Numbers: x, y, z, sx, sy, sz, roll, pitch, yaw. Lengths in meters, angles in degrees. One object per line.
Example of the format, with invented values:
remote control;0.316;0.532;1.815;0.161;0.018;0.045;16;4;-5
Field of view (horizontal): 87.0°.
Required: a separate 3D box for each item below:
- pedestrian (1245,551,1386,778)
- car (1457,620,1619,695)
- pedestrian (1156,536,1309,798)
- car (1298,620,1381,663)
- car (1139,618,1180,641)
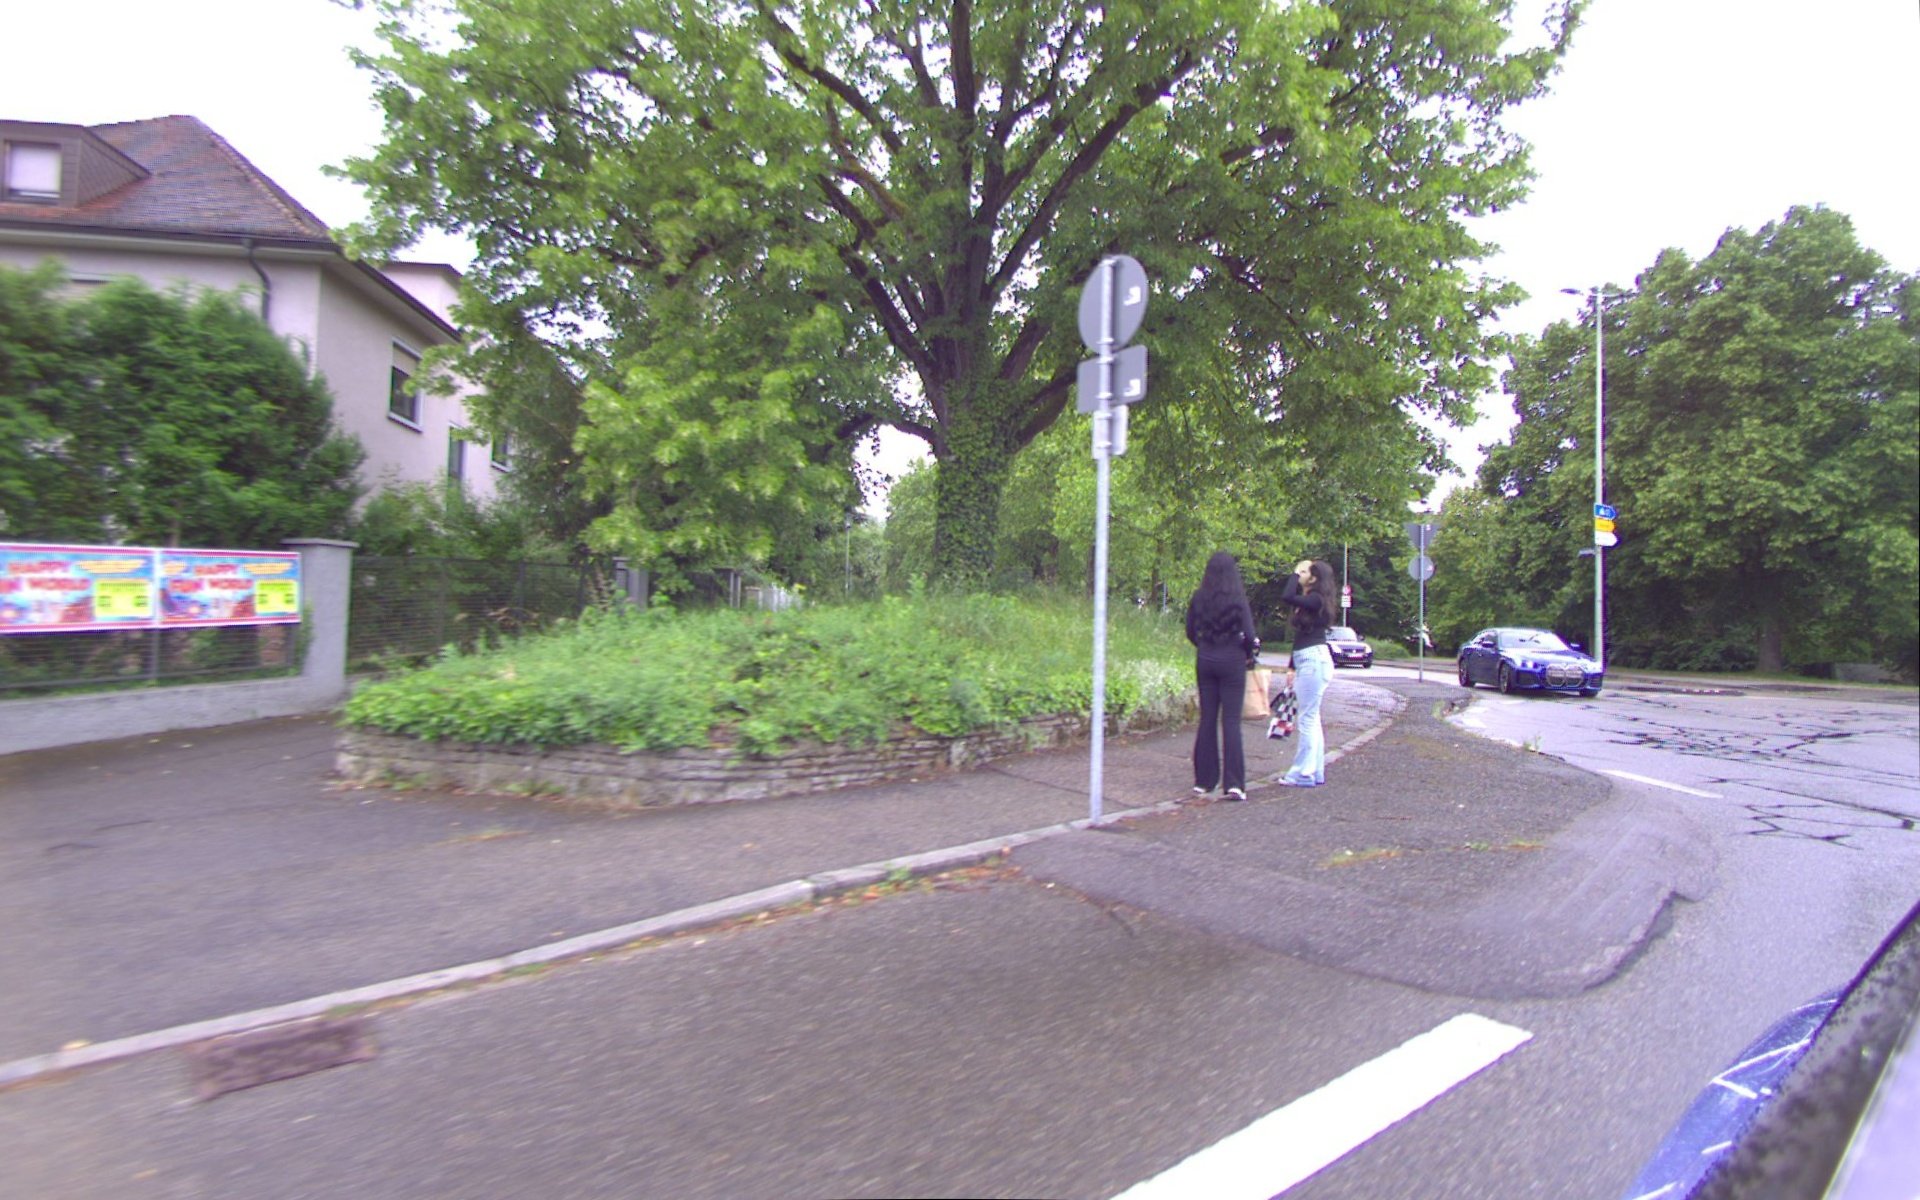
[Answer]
pedestrian;2.735;0.469;7.860;0.803;1.675;0.726;1;1;-1
car;12.990;1.217;23.078;1.735;1.455;4.656;1;-1;10
pedestrian;1.968;0.439;7.323;0.804;1.754;0.725;0;1;-39
car;14.237;1.525;38.208;1.830;1.433;4.379;1;0;5
car;13.703;2.020;69.726;1.692;1.394;3.875;1;1;-6
